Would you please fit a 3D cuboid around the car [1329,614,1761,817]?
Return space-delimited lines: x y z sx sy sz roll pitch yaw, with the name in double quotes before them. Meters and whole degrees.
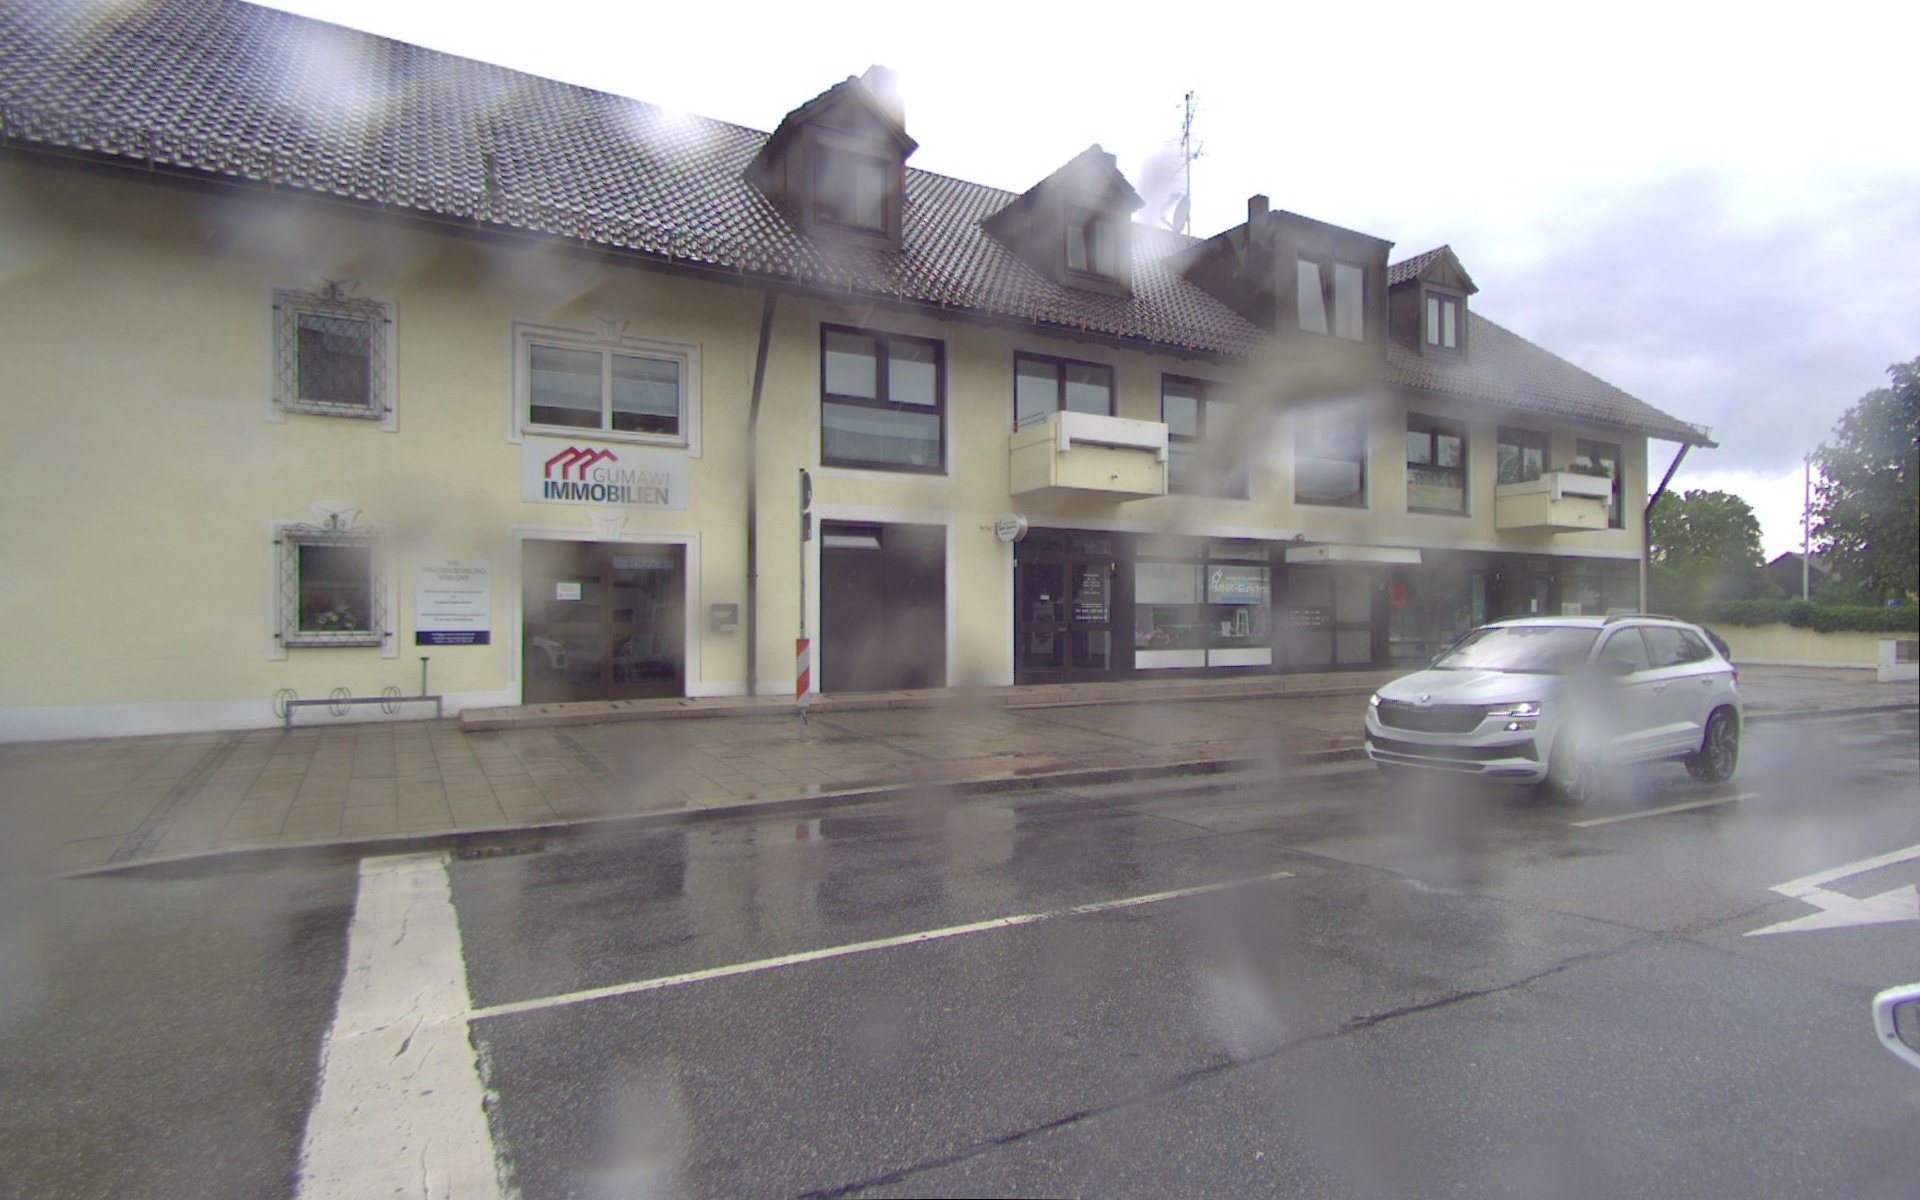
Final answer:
"car" 5.725 0.954 9.749 4.079 1.587 1.917 1 -2 -31

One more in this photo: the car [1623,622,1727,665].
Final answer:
"car" 24.248 1.459 34.045 3.468 1.398 1.599 1 -2 -31
